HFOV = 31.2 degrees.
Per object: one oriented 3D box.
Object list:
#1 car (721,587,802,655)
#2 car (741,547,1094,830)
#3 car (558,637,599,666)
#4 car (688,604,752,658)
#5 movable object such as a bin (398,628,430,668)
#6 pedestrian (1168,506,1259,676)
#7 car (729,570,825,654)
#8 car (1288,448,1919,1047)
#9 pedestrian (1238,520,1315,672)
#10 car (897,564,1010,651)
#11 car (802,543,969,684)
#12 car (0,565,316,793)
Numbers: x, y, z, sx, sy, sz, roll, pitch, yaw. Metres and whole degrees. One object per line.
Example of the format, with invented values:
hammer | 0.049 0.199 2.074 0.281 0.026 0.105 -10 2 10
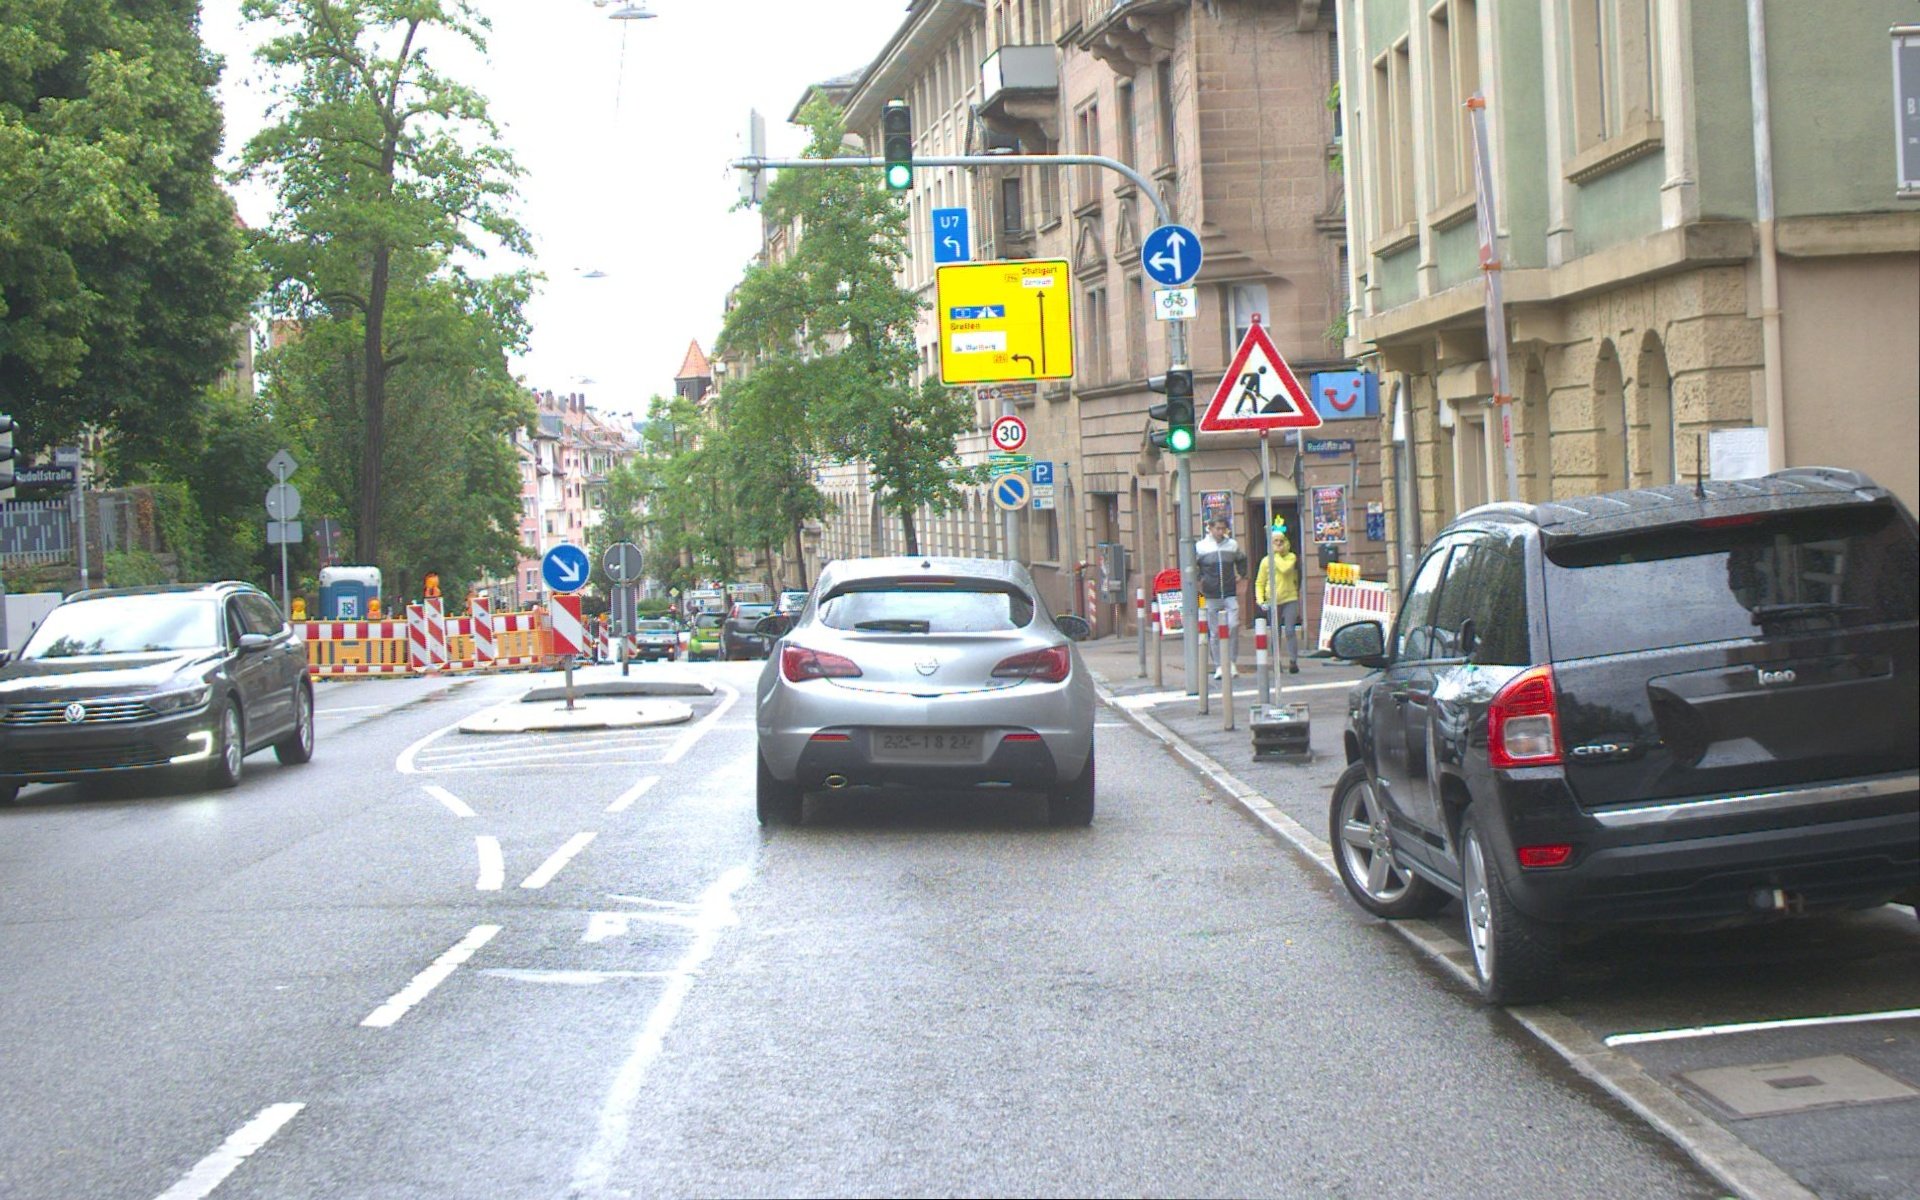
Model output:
car | -4.936 0.535 85.044 1.656 1.538 3.666 -4 -1 -7
car | -0.204 0.470 19.731 1.811 1.445 3.869 -1 0 1
car | -20.768 2.791 186.917 1.993 1.496 4.001 -2 -1 -9
car | -7.385 0.964 105.429 1.656 1.538 3.666 -4 -1 -7
movable object such as a bin | -16.776 1.467 105.650 0.944 1.210 0.856 0 -1 -6
pedestrian | 2.741 -0.099 37.131 0.718 1.768 0.665 -3 1 19
car | -3.727 0.268 69.596 1.656 1.538 3.666 -4 -1 -6
car | 2.405 0.421 12.296 1.877 1.624 4.697 -5 0 0
pedestrian | 3.401 -0.051 36.934 0.597 1.579 0.665 -4 1 18
car | -0.157 0.168 67.420 1.656 1.538 3.666 -4 -1 -7
car | -0.807 0.157 38.870 1.772 1.499 3.869 -1 0 0
car | -5.988 0.516 25.301 1.815 1.512 4.548 -1 0 -3
